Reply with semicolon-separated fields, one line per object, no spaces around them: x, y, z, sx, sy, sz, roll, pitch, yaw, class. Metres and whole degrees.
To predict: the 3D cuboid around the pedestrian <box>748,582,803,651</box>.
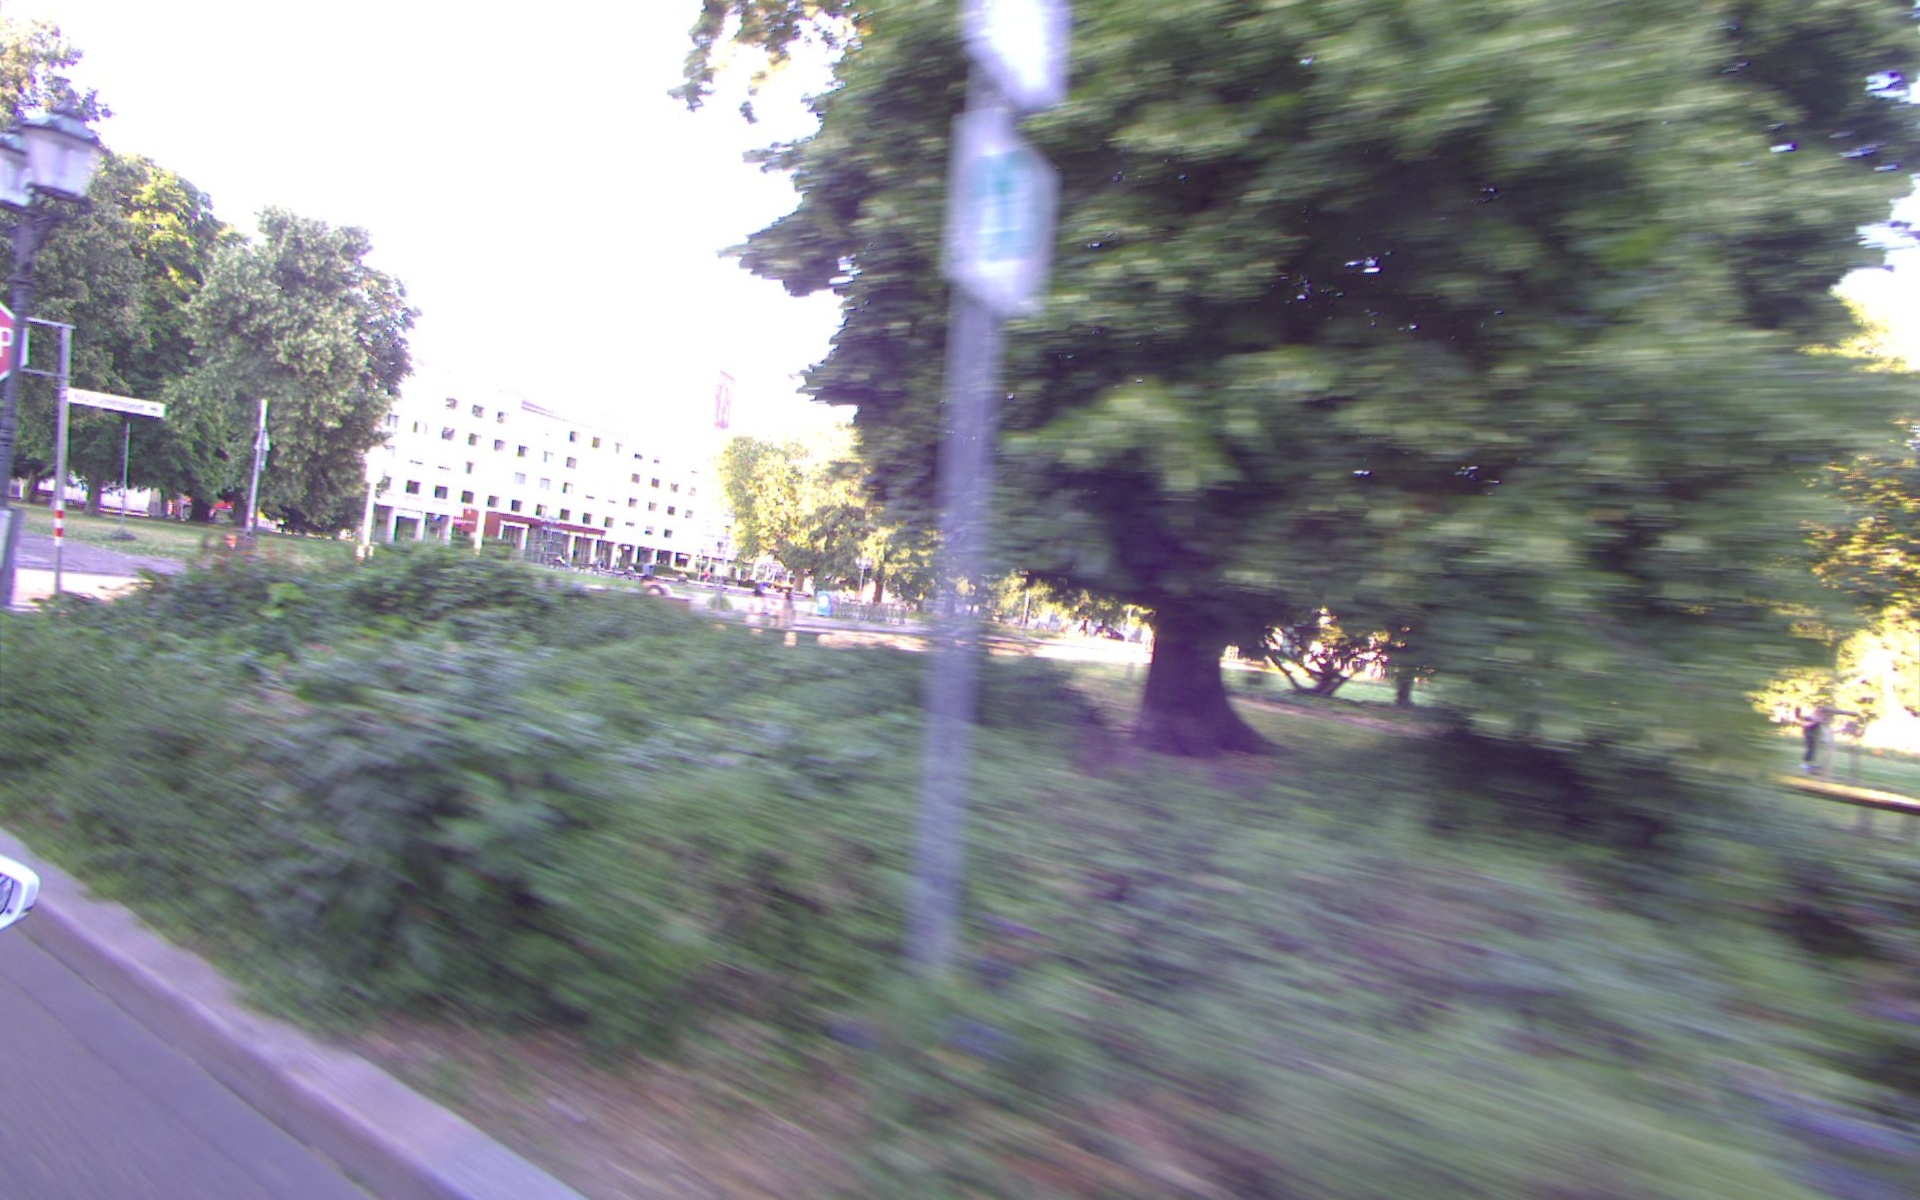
-3.940;0.356;21.476;0.804;1.358;0.598;7;1;26;pedestrian

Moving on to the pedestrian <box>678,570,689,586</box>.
-19.834;-1.582;72.171;0.610;1.091;0.511;7;1;-8;pedestrian

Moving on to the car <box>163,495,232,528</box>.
-63.315;-7.323;83.571;1.967;2.038;4.035;7;0;33;car

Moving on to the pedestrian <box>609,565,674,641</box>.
-5.805;0.057;18.385;0.857;1.277;0.598;7;1;1;pedestrian

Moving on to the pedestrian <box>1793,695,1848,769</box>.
22.261;3.393;26.037;0.745;1.769;0.772;7;1;28;pedestrian

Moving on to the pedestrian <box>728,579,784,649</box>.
-4.243;0.294;20.893;0.804;1.358;0.598;7;1;26;pedestrian

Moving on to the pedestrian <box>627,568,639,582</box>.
-23.546;-1.778;72.404;0.609;0.936;0.512;7;1;6;pedestrian

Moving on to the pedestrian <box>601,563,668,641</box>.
-5.723;0.036;17.729;0.803;1.253;0.683;7;1;2;pedestrian

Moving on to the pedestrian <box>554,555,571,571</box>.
-29.990;-2.796;75.910;0.893;1.091;0.614;6;1;-41;pedestrian
